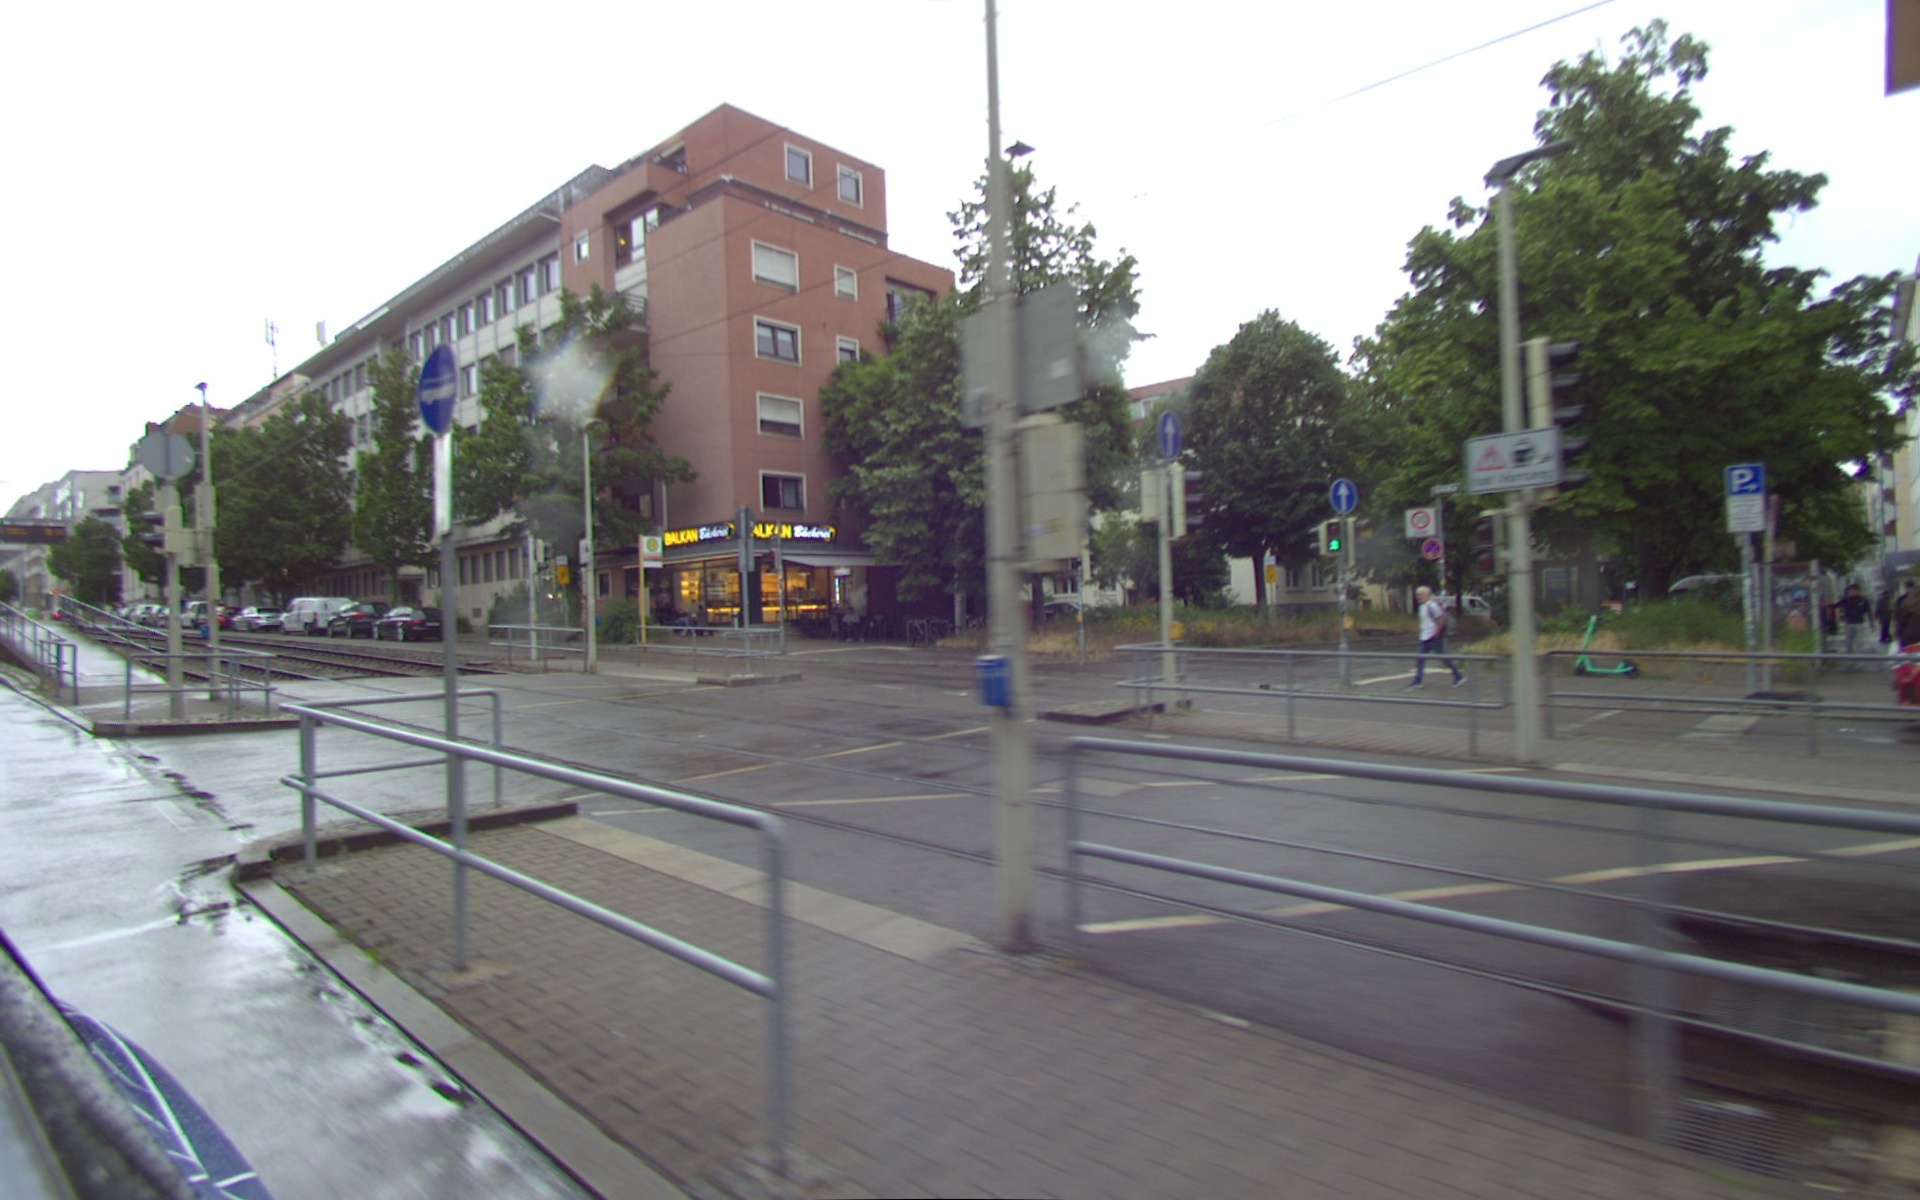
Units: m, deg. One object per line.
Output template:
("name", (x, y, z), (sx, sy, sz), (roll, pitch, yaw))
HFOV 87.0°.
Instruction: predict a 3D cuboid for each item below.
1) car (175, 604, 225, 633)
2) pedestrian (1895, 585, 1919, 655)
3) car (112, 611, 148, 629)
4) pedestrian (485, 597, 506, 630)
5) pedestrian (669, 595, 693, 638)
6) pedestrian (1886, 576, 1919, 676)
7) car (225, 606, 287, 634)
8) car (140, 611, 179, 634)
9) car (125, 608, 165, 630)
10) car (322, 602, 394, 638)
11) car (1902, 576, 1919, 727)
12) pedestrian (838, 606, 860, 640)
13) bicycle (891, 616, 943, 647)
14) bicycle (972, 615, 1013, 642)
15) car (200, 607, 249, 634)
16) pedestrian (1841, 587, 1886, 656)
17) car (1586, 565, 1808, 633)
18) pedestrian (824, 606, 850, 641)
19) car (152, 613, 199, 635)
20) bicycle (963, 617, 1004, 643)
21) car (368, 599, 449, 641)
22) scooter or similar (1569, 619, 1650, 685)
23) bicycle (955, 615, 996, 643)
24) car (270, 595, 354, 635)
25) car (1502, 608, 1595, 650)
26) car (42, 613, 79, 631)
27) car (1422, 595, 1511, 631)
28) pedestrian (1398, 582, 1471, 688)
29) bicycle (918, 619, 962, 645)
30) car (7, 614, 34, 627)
("car", (-48.782, 1.160, 64.931), (4.430, 1.831, 1.656), (-1, -1, 41))
("pedestrian", (19.576, 0.401, 20.668), (0.650, 1.416, 0.554), (-1, 1, 40))
("car", (-65.926, 1.578, 80.334), (4.458, 1.386, 1.695), (-1, 0, 44))
("pedestrian", (-22.275, 0.646, 48.539), (0.584, 1.569, 0.692), (-1, -1, 36))
("pedestrian", (-10.567, 0.614, 38.351), (0.818, 1.608, 0.553), (-1, -1, 44))
("pedestrian", (16.110, 0.422, 16.904), (0.869, 1.644, 0.808), (-1, -3, -43))
("car", (-38.717, 1.062, 55.610), (4.526, 1.473, 1.675), (-1, 0, 39))
("car", (-56.970, 1.590, 72.015), (4.022, 1.549, 1.621), (-1, 0, 43))
("car", (-61.548, 1.451, 76.431), (4.336, 1.596, 1.640), (-1, 0, 41))
("car", (-27.127, 0.891, 45.538), (4.371, 1.548, 1.621), (-1, 0, 43))
("car", (12.434, 0.499, 9.975), (4.553, 1.624, 1.707), (-2, -2, 44))
("pedestrian", (-3.999, 0.819, 36.436), (0.601, 1.187, 0.676), (-1, -1, 10))
("bicycle", (-1.381, 0.985, 32.426), (1.873, 0.966, 0.474), (-1, -1, 42))
("bicycle", (1.114, 0.985, 35.076), (0.335, 0.910, 1.647), (1, -1, -45))
("car", (-44.454, 1.210, 61.142), (3.802, 1.551, 1.621), (-1, 0, 41))
("pedestrian", (18.810, 0.431, 21.087), (0.658, 1.394, 0.683), (-1, 1, 40))
("car", (30.077, 0.031, 41.572), (7.101, 2.553, 2.388), (-1, -1, 44))
("pedestrian", (-4.228, 0.820, 34.860), (0.668, 1.187, 0.609), (0, -1, -43))
("car", (-53.092, 1.584, 68.461), (4.727, 1.451, 1.621), (-1, 0, 41))
("bicycle", (0.796, 1.014, 34.674), (0.333, 0.849, 1.647), (1, -1, -45))
("car", (-22.594, 0.803, 41.408), (4.371, 1.636, 1.621), (-1, -1, 43))
("scooter or similar", (12.086, 0.949, 18.841), (1.212, 1.200, 0.385), (-1, -1, 44))
("bicycle", (0.526, 0.975, 34.431), (0.335, 0.917, 1.647), (1, -1, -45))
("car", (-31.831, 0.717, 49.674), (5.251, 1.858, 1.889), (-1, 0, 38))
("car", (21.007, 0.998, 36.046), (2.001, 1.384, 3.942), (-1, -1, 44))
("car", (-76.391, 1.878, 85.911), (4.526, 1.473, 1.675), (-1, 0, 39))
("car", (32.657, 0.860, 65.317), (4.860, 2.226, 1.883), (-1, -1, 41))
("pedestrian", (8.043, 0.573, 17.142), (0.983, 1.710, 0.812), (-1, 1, 34))
("bicycle", (-0.665, 1.040, 33.069), (1.646, 0.822, 0.335), (-1, -1, 42))
("car", (-95.439, 2.067, 102.822), (3.733, 1.348, 1.622), (-1, 0, 41))
